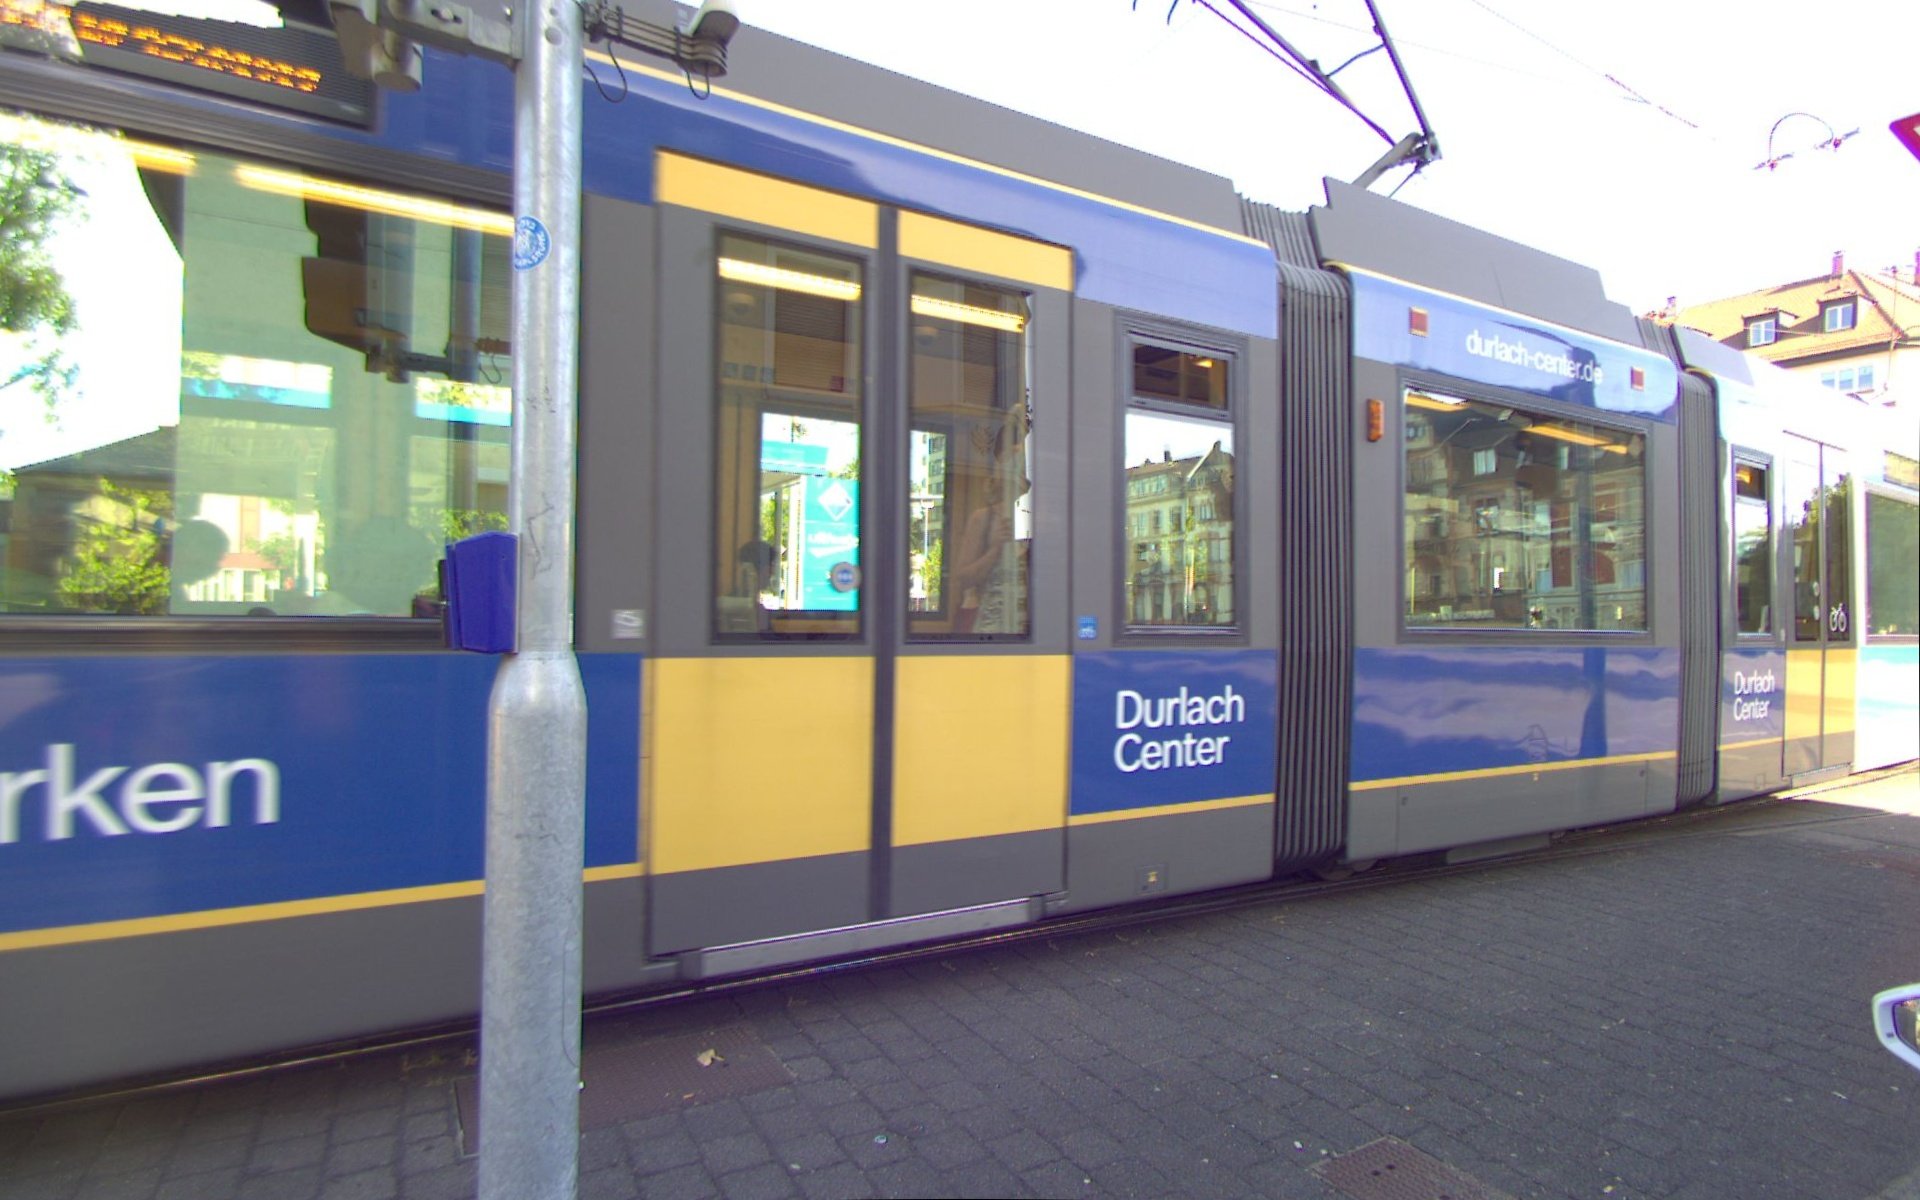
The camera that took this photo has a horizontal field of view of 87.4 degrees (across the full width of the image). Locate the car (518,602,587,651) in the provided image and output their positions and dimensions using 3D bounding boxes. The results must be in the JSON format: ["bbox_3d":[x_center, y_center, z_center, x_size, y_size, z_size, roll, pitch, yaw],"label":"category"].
[{"bbox_3d":[-13.455,0.856,33.012,1.725,1.431,4.061,5,-2,-26],"label":"car"}]

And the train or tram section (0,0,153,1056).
[{"bbox_3d":[-6.333,-0.511,1.247,7.867,3.546,2.802,1,-1,-30],"label":"train or tram section"}]

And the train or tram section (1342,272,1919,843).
[{"bbox_3d":[8.933,-0.148,10.741,11.905,3.546,2.753,1,-1,-34],"label":"train or tram section"}]

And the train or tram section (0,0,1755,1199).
[{"bbox_3d":[0.596,-0.356,5.276,8.362,3.546,2.801,1,-1,-30],"label":"train or tram section"}]
